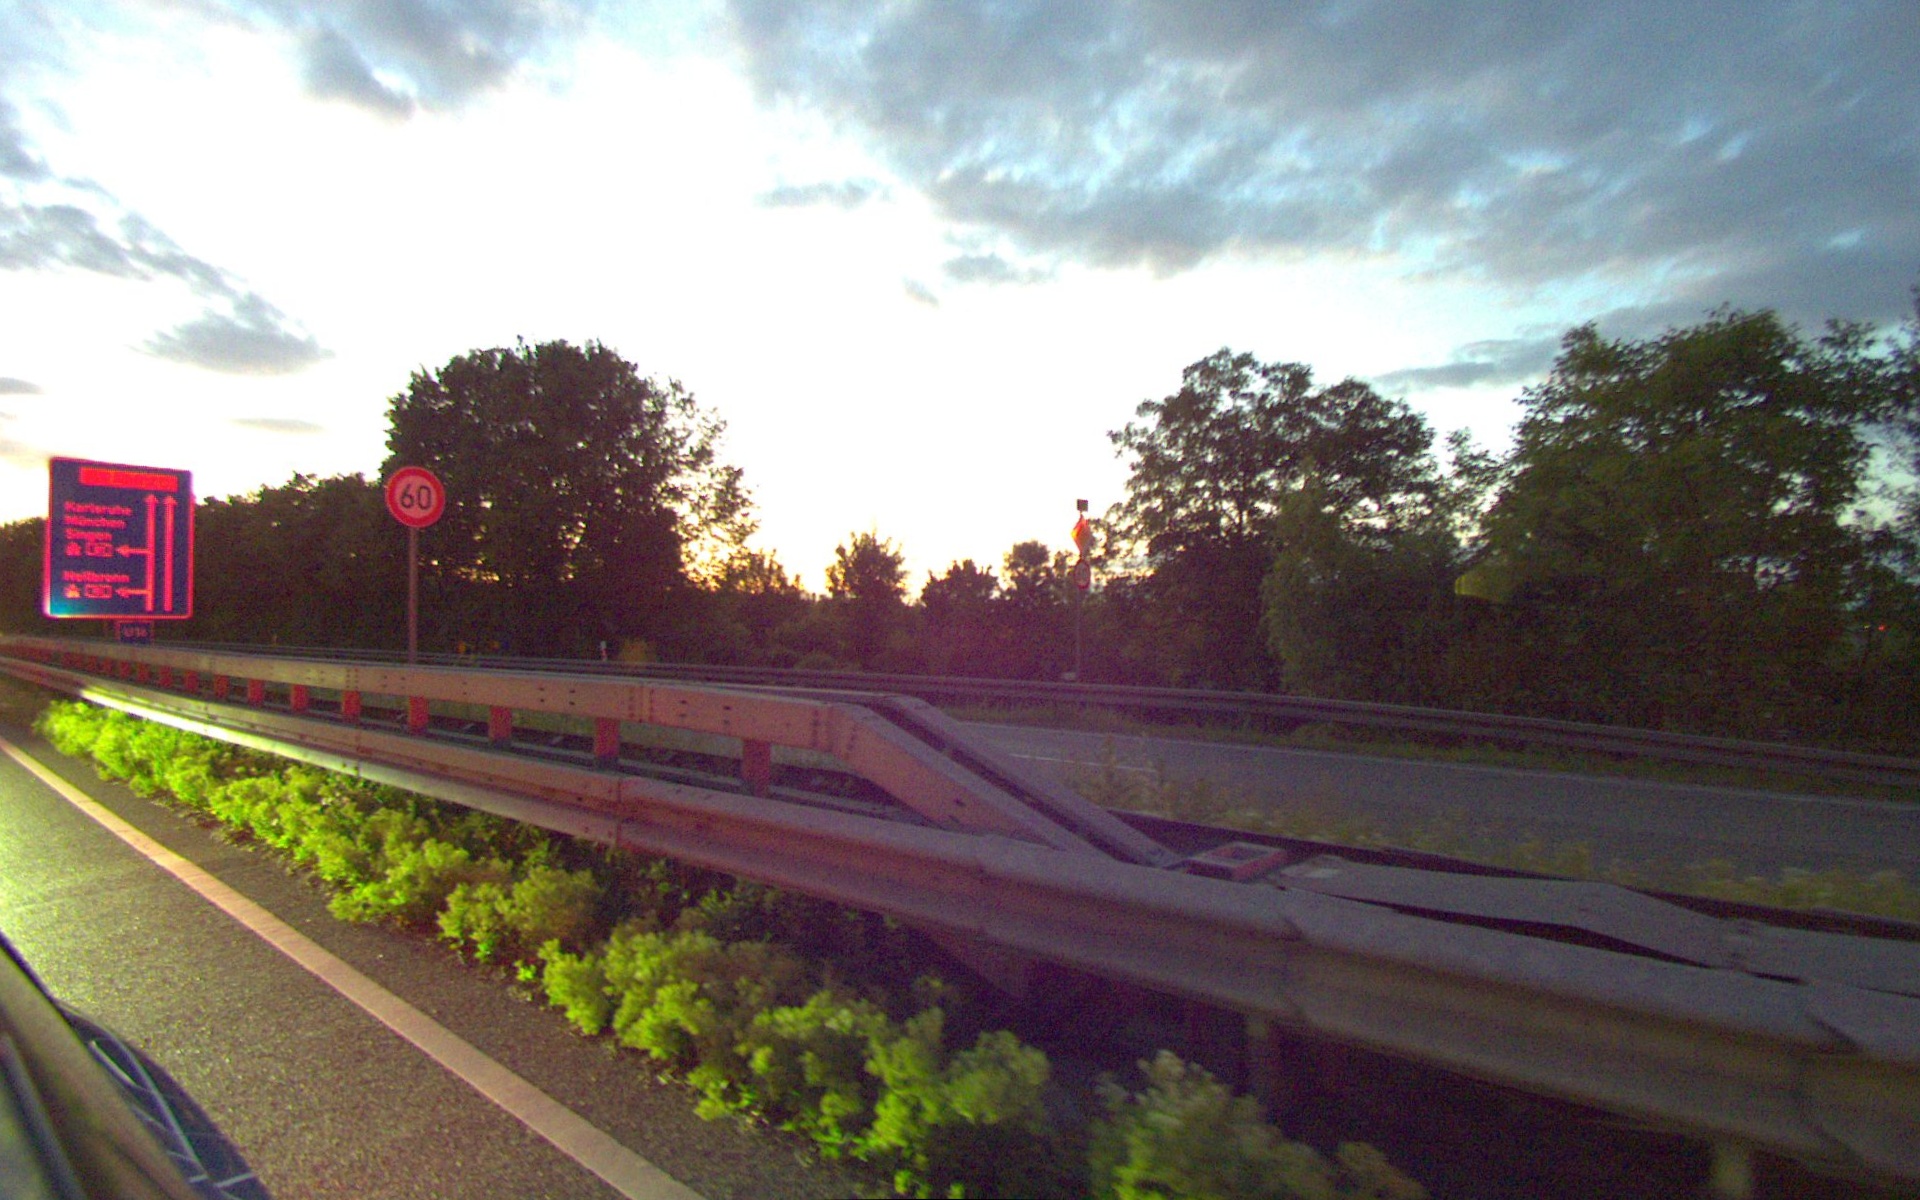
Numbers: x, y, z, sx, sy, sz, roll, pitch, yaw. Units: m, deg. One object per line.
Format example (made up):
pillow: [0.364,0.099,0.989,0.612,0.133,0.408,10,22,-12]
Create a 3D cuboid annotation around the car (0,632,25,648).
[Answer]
car: [-108.997,4.593,116.316,1.771,1.684,4.511,1,-1,-38]
